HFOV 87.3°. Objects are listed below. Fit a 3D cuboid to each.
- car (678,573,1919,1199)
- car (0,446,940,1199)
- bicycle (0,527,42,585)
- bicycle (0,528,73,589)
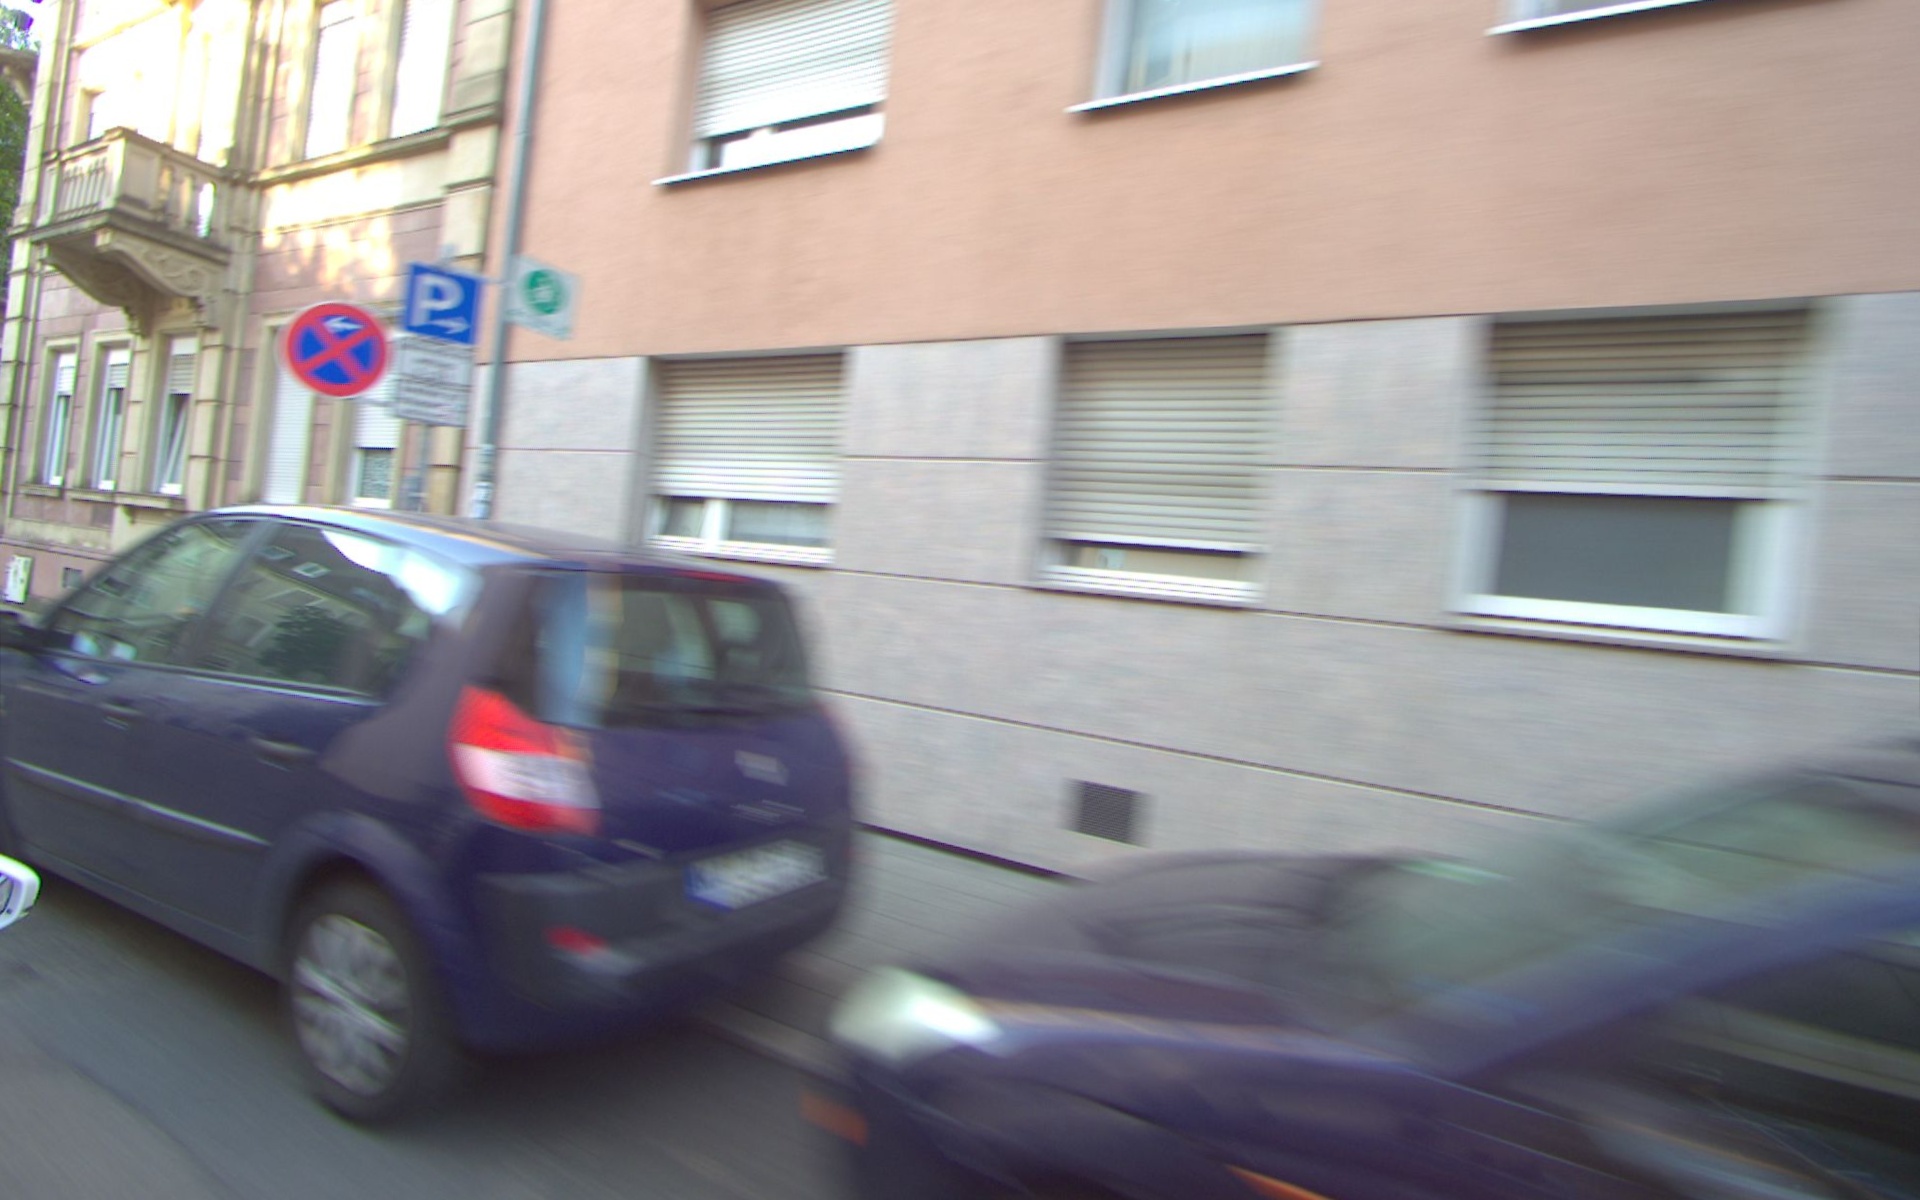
[{"bbox_3d":[1.700,0.975,1.713,4.211,1.532,1.693,6,-1,31],"label":"car"},{"bbox_3d":[-2.299,0.426,3.941,3.984,1.644,1.693,6,-1,28],"label":"car"},{"bbox_3d":[-19.078,-0.899,19.622,0.357,1.103,1.871,5,0,9],"label":"bicycle"},{"bbox_3d":[-18.417,-0.815,19.575,0.357,1.103,1.871,5,0,9],"label":"bicycle"}]
